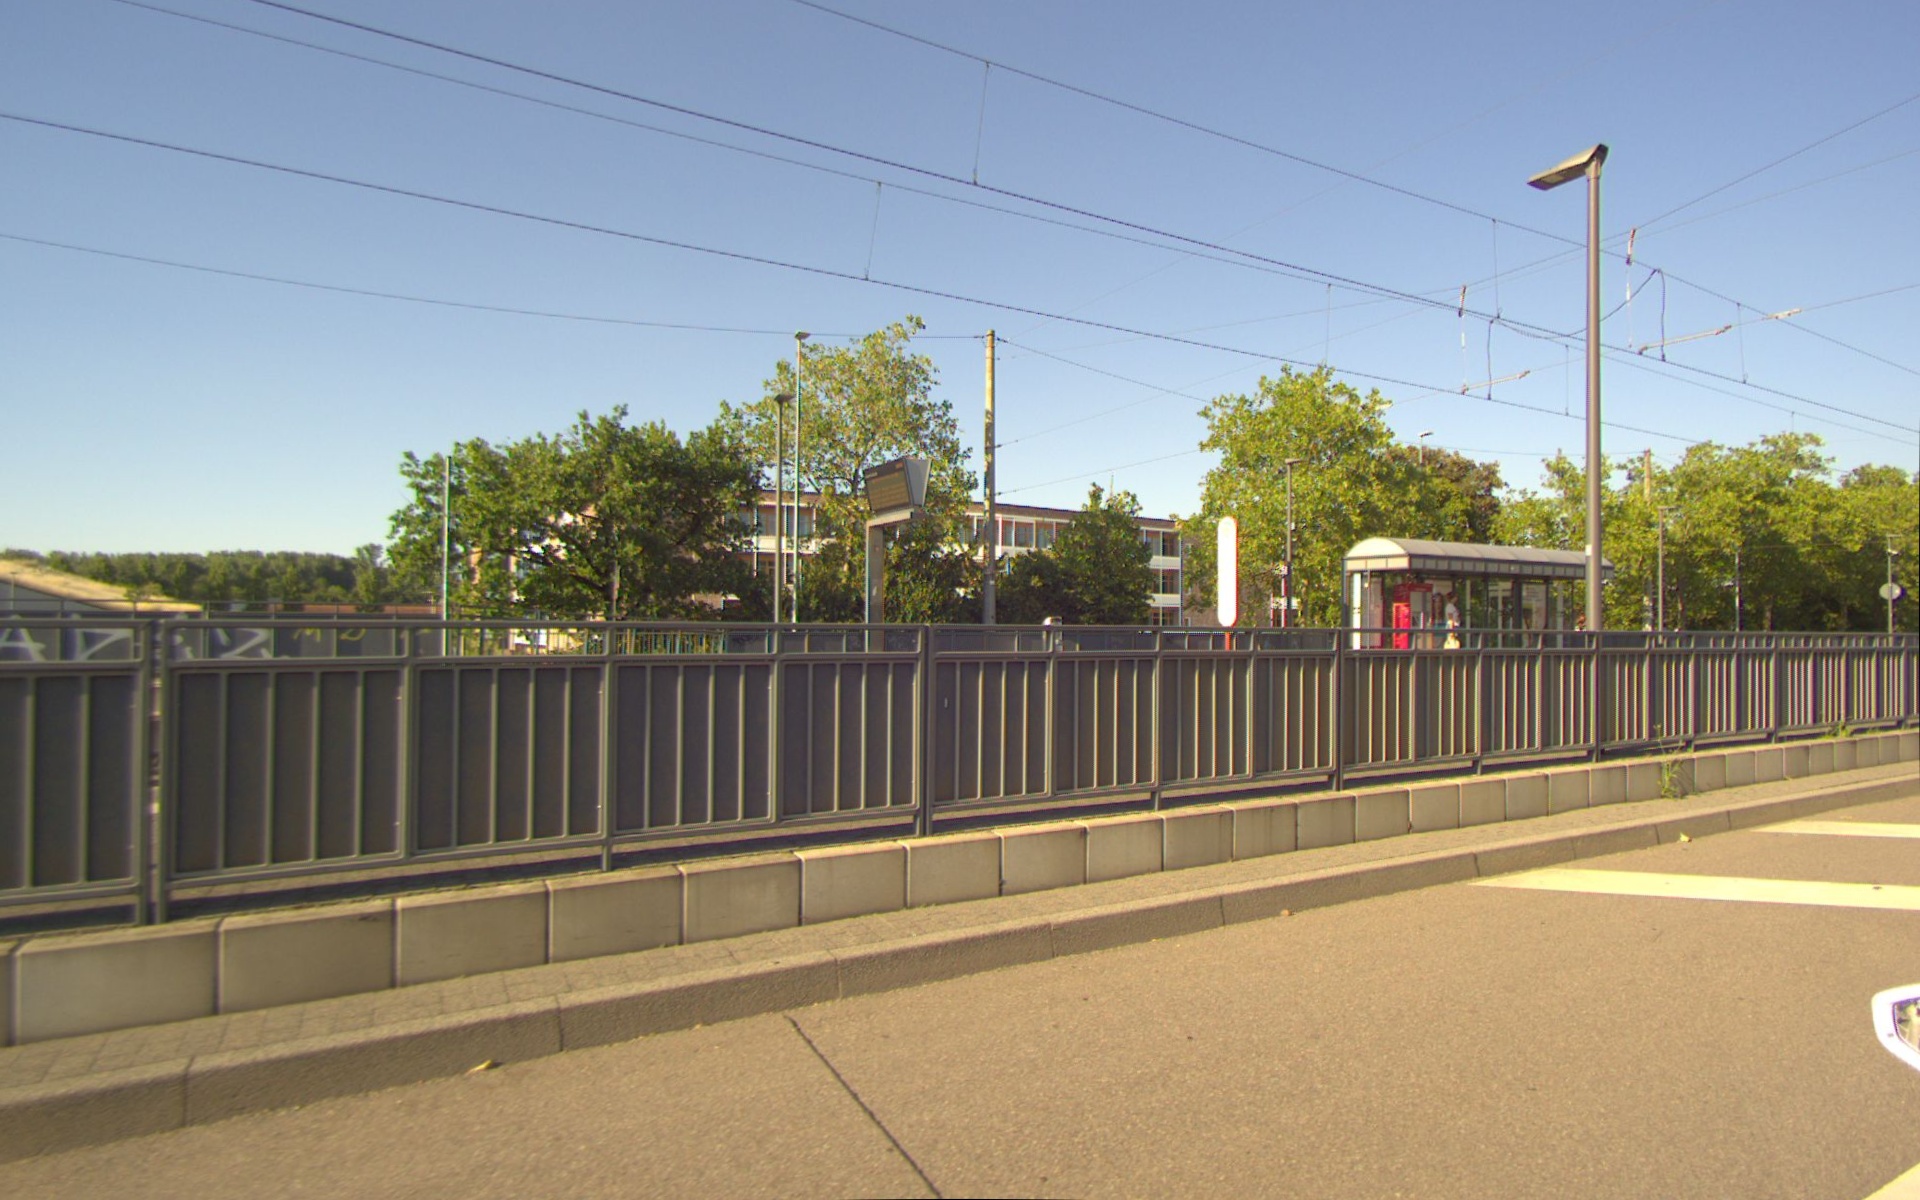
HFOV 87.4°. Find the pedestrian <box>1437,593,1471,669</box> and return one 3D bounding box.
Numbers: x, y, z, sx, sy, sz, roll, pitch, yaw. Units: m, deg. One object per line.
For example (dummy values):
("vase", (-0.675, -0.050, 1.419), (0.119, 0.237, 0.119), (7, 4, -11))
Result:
("pedestrian", (11.714, 0.728, 23.815), (0.576, 1.780, 0.701), (1, 0, 15))
